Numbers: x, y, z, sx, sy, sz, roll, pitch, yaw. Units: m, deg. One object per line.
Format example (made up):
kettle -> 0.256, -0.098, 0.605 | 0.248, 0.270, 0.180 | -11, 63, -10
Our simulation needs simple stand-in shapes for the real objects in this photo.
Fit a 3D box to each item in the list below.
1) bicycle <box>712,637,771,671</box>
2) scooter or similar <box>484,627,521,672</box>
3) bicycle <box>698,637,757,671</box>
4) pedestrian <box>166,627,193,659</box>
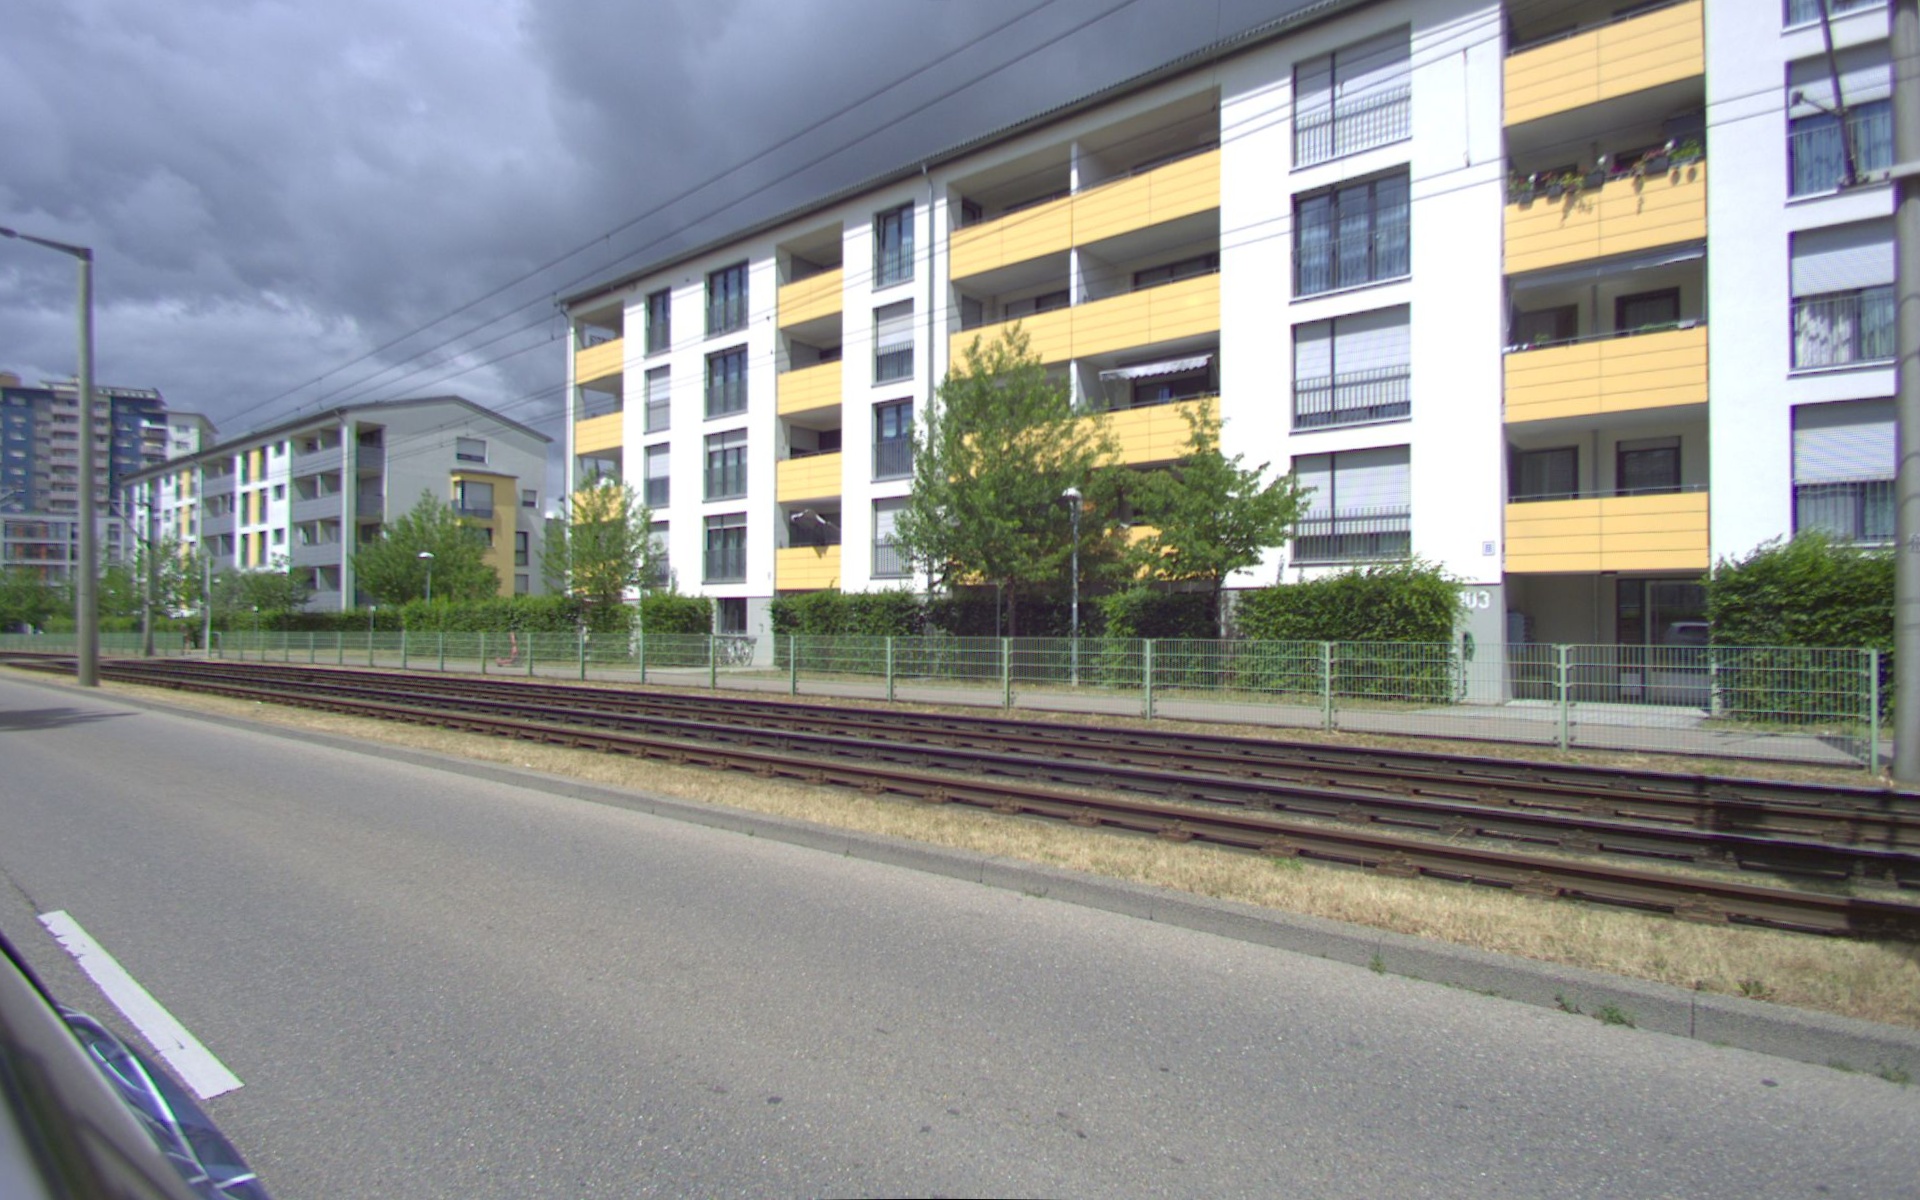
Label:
bicycle -> -6.766, 1.655, 31.272 | 2.212, 0.987, 0.549 | -2, -2, 41
scooter or similar -> -13.812, 1.490, 30.531 | 1.300, 1.303, 0.485 | -2, -2, 40
bicycle -> -7.106, 1.635, 30.884 | 2.212, 0.987, 0.549 | -2, -2, 41
pedestrian -> -37.292, 2.030, 48.372 | 0.994, 1.494, 0.789 | -2, -2, 37
